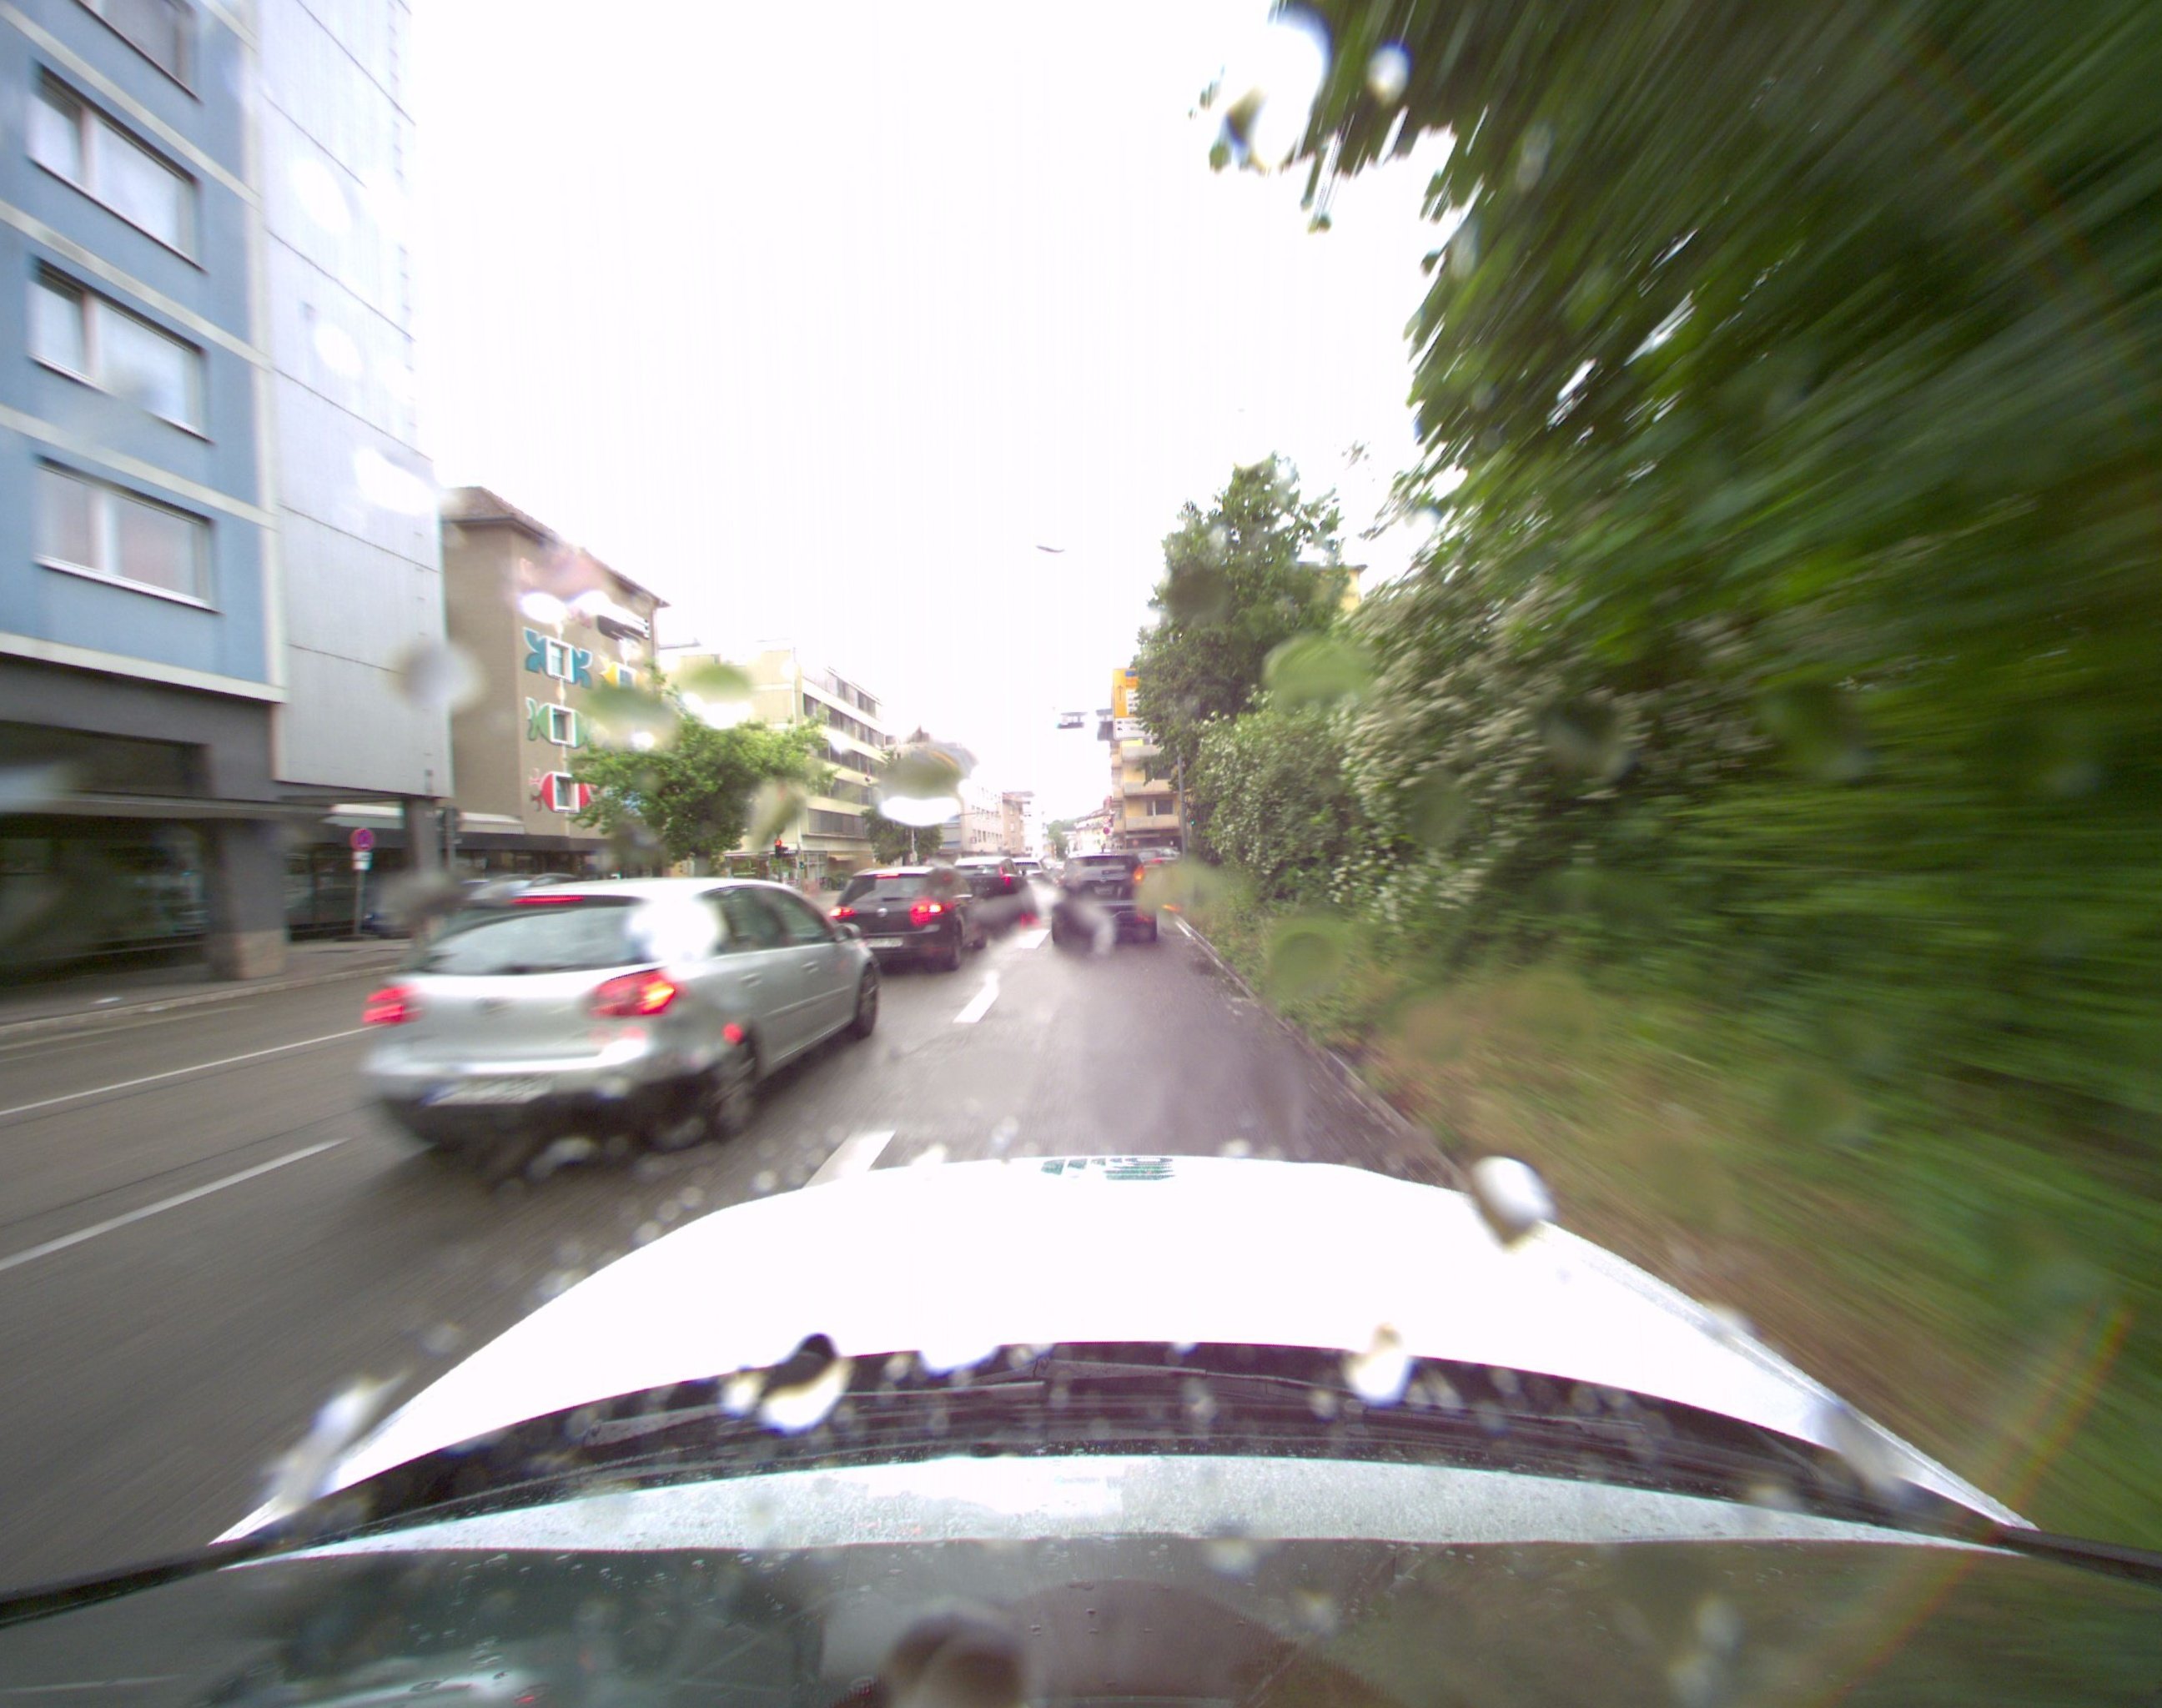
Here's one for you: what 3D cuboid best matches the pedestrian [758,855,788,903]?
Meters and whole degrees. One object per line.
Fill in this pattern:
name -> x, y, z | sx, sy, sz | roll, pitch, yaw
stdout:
pedestrian -> -13.571, 1.085, 35.912 | 0.940, 2.013, 0.884 | -4, -1, -8

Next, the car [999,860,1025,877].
car -> -6.661, 1.385, 79.259 | 1.771, 1.478, 3.797 | -6, -1, 4

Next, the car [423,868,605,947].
car -> -14.283, 1.260, 20.861 | 1.533, 1.706, 4.289 | -2, 0, 2

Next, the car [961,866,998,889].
car -> -8.005, 1.818, 64.602 | 1.985, 1.494, 4.092 | -6, 0, 4

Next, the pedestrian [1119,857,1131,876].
pedestrian -> 4.016, 1.118, 73.615 | 0.832, 1.558, 0.833 | -9, -1, 0

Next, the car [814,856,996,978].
car -> -2.473, 0.816, 12.451 | 1.749, 1.453, 4.001 | -3, 0, 1

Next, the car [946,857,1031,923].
car -> -2.236, 0.828, 20.570 | 1.607, 1.420, 3.967 | -2, 0, 0

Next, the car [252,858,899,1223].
car -> -2.678, 0.826, 5.639 | 1.738, 1.487, 4.162 | -3, 0, 1

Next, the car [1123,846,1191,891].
car -> 3.777, 0.664, 39.913 | 1.975, 2.013, 4.024 | -3, 0, 25

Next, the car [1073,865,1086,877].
car -> -0.330, 3.044, 147.264 | 1.985, 2.013, 4.003 | -5, -1, 3

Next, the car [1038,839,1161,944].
car -> 0.311, 0.615, 15.236 | 1.953, 1.653, 4.000 | -1, 0, 0

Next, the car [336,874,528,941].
car -> -19.052, 1.497, 24.233 | 1.987, 1.655, 4.511 | -2, -1, 1

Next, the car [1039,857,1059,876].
car -> -3.353, 1.260, 85.534 | 1.774, 1.816, 4.404 | -4, 0, 0

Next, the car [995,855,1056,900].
car -> -1.981, 0.825, 30.154 | 1.760, 1.444, 4.002 | -3, 0, 2
